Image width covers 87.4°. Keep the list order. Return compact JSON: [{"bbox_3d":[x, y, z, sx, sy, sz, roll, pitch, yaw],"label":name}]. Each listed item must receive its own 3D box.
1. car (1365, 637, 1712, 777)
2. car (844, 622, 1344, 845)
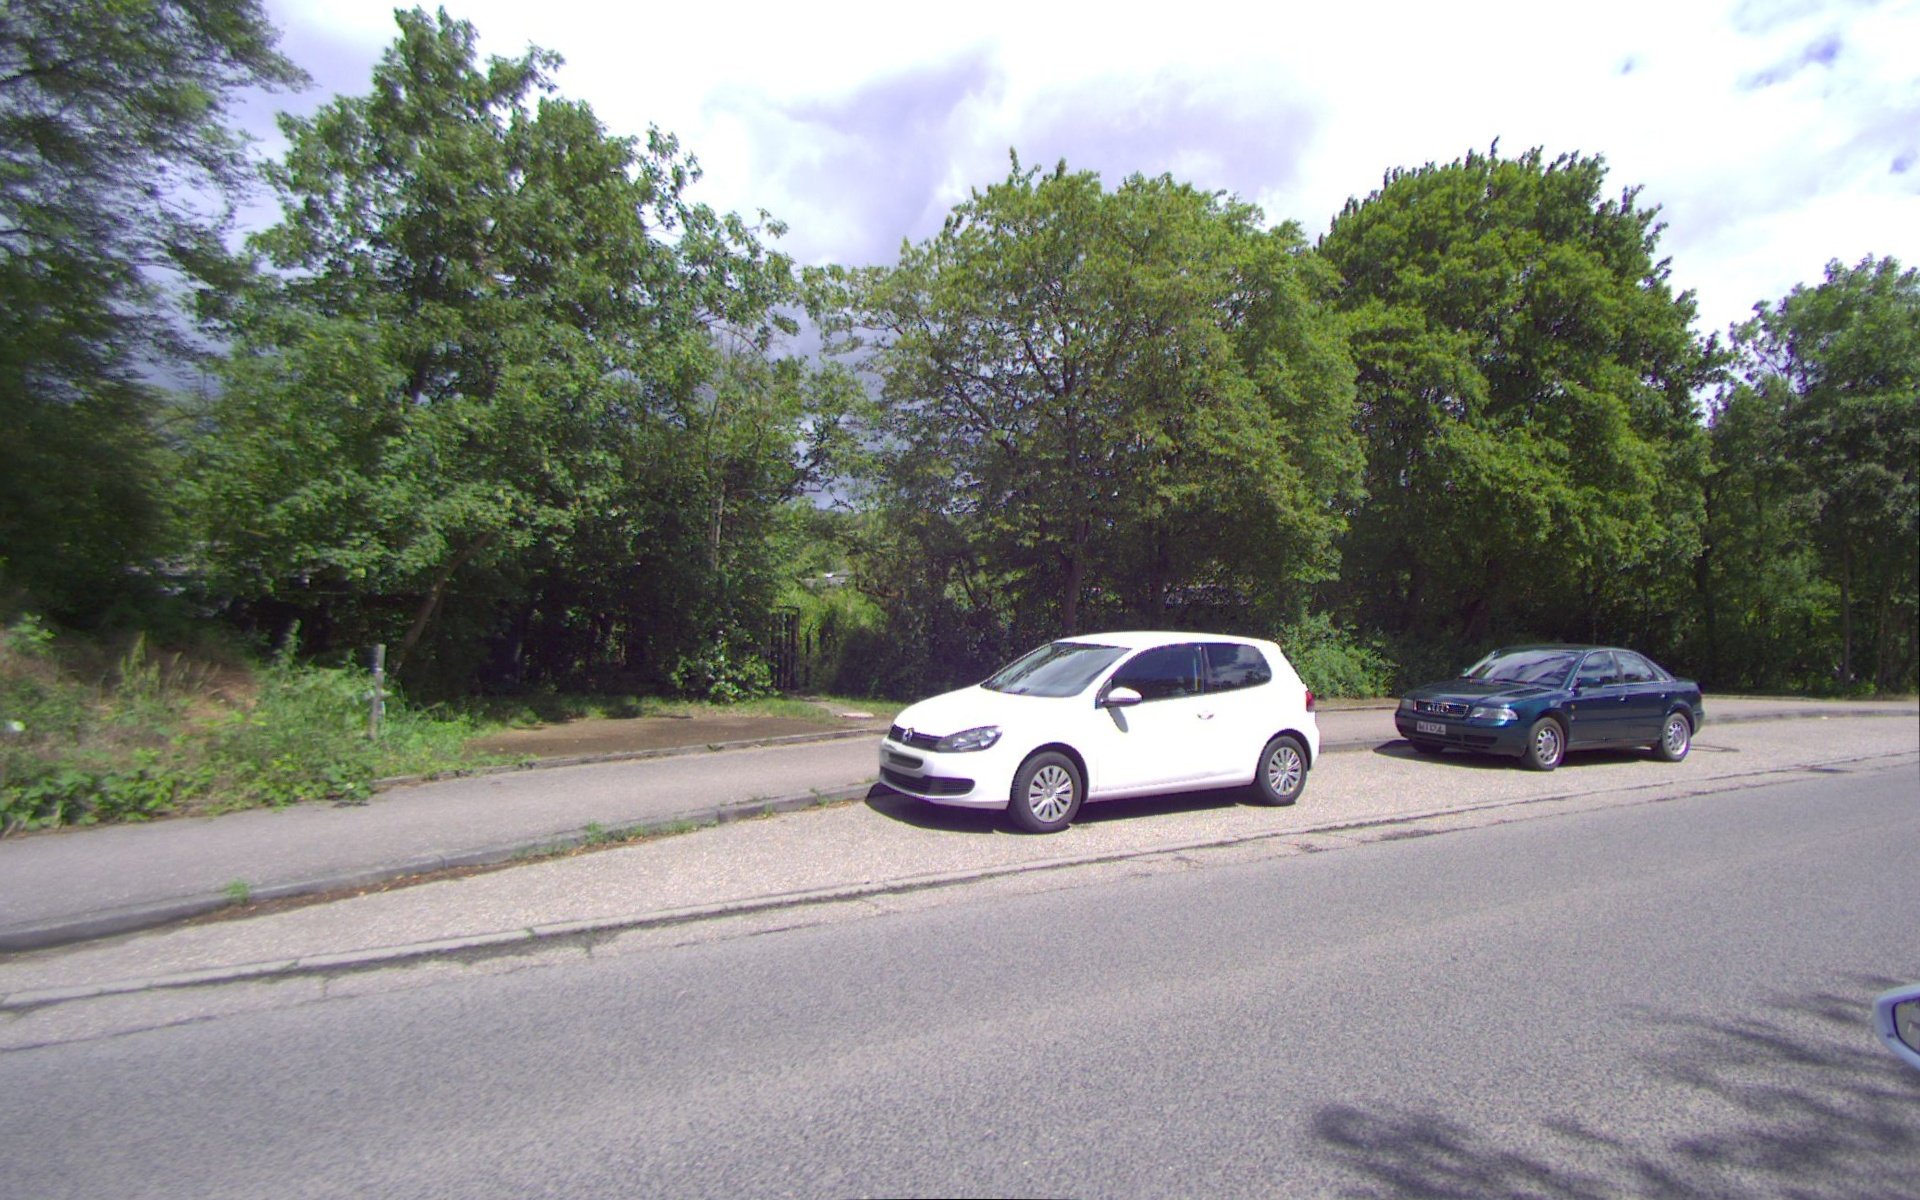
[{"bbox_3d":[7.291,1.246,12.606,4.211,1.426,1.761,2,0,-27],"label":"car"},{"bbox_3d":[1.269,1.010,8.865,4.198,1.489,1.758,2,0,-32],"label":"car"}]
